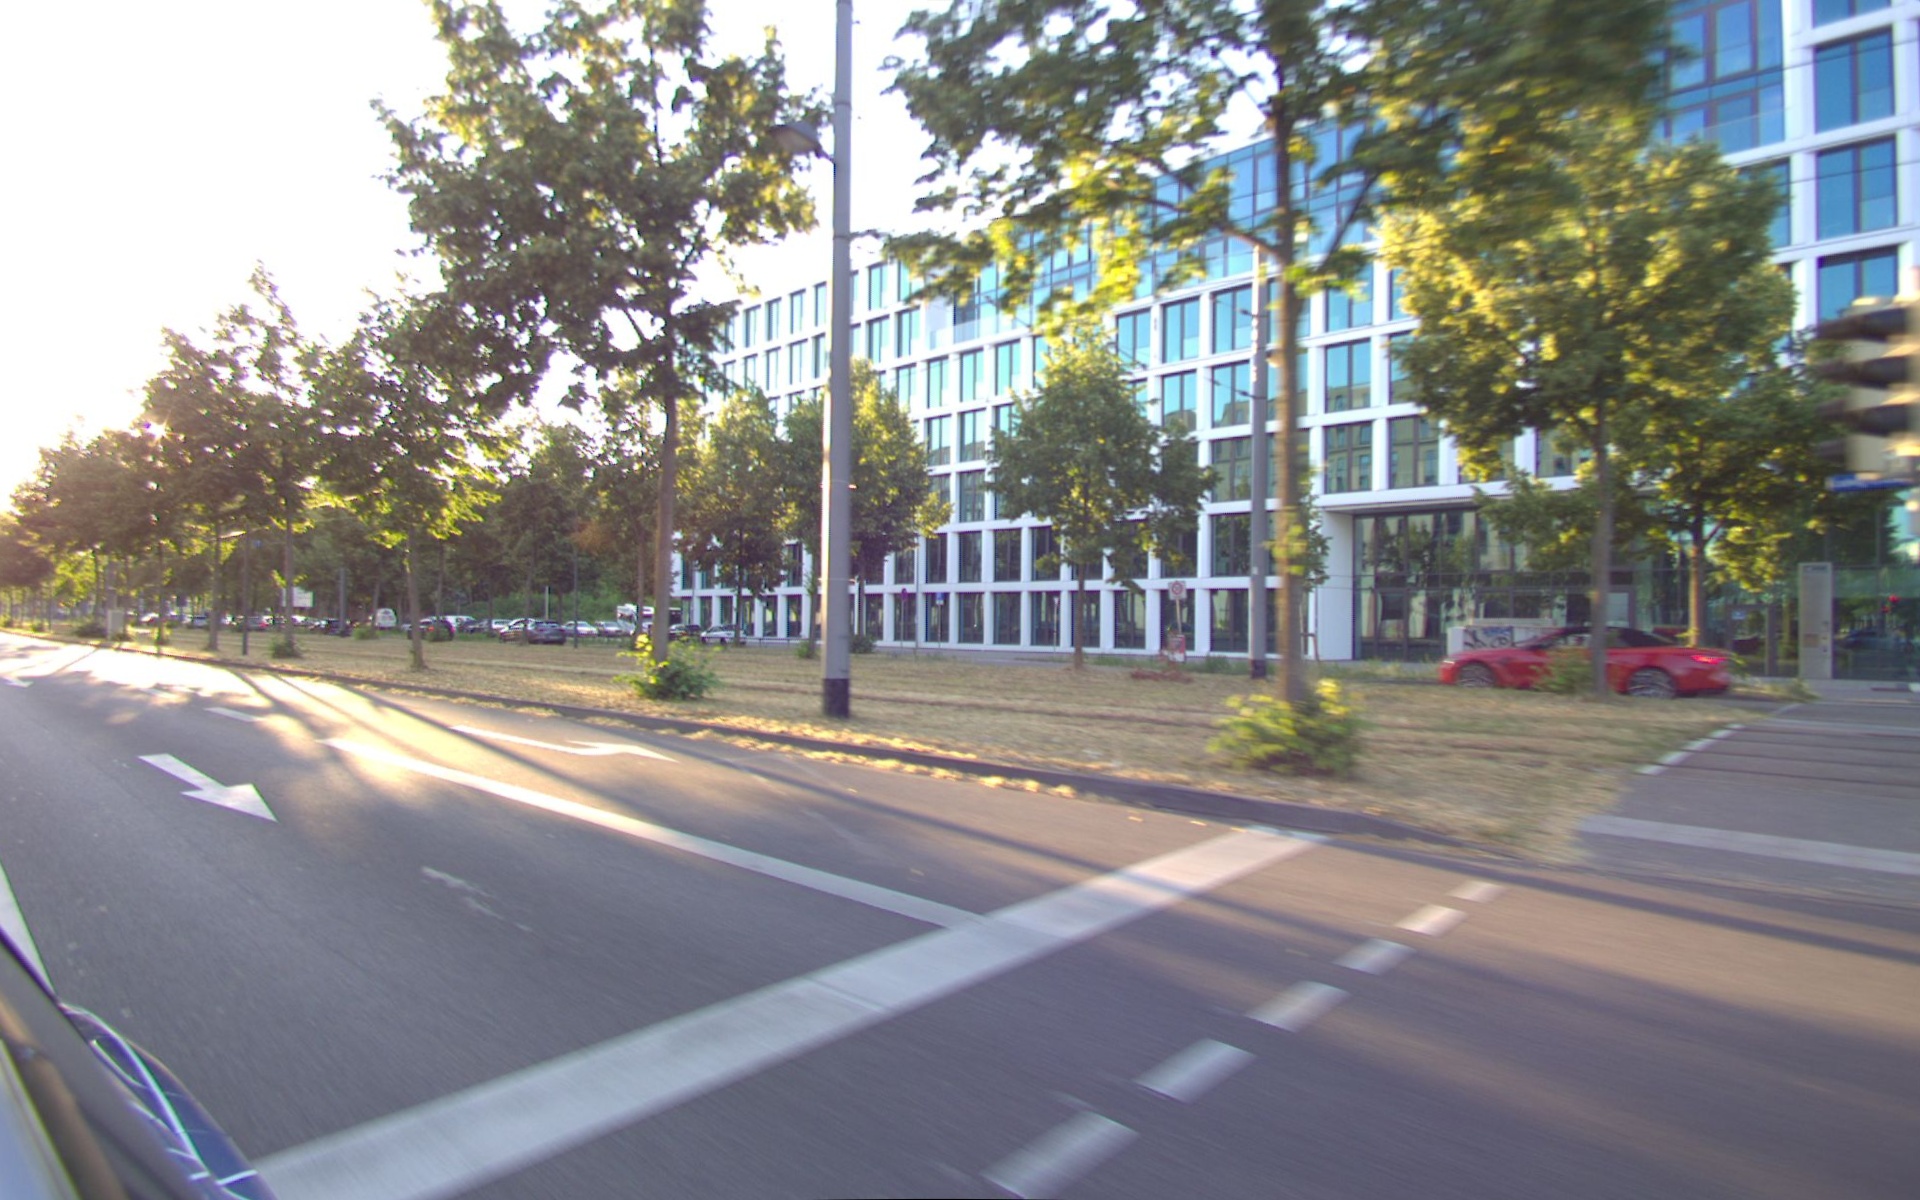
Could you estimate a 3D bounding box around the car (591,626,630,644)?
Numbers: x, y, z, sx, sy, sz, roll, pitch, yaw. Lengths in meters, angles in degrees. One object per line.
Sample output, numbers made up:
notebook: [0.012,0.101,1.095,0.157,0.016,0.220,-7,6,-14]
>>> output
car: [-31.627,3.133,91.568,1.969,1.604,4.006,2,-2,-41]

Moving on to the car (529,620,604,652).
car: [-18.336,1.636,47.077,3.998,1.413,1.628,-1,-2,42]

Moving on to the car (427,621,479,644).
car: [-32.527,2.055,64.897,3.998,1.413,1.628,-1,-2,42]

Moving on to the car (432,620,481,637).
car: [-52.018,2.927,104.589,1.999,1.754,4.030,-1,-2,40]

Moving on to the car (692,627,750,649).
car: [-15.797,2.467,66.818,3.998,1.413,1.740,-1,-2,42]

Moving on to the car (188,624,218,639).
car: [-76.402,3.160,102.119,3.998,1.413,1.628,-1,-2,42]

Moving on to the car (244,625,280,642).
car: [-60.027,2.886,86.997,3.998,1.413,1.628,-1,-2,42]

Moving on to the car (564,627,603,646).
car: [-33.588,3.231,90.167,1.969,1.604,4.006,2,-2,-41]

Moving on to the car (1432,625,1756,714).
car: [11.785,1.202,19.045,4.898,1.445,1.972,-1,-2,43]

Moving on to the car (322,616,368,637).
car: [-42.843,1.866,70.432,3.998,1.413,1.628,-1,-2,42]

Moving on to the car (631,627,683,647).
car: [-21.714,2.617,72.376,3.998,1.413,1.740,-1,-2,42]

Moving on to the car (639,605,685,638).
car: [-28.277,2.047,95.981,2.132,3.014,5.731,2,-2,-39]

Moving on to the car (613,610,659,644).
car: [-30.112,2.490,93.870,2.132,3.014,5.731,2,-2,-39]

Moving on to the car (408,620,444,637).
car: [-56.235,2.982,106.576,4.610,1.754,1.972,-1,-2,43]

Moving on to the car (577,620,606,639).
car: [-37.491,2.979,102.851,1.822,1.826,4.010,1,-2,-34]

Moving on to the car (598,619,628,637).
car: [-35.620,2.858,103.828,1.822,1.826,4.010,1,-2,-34]
